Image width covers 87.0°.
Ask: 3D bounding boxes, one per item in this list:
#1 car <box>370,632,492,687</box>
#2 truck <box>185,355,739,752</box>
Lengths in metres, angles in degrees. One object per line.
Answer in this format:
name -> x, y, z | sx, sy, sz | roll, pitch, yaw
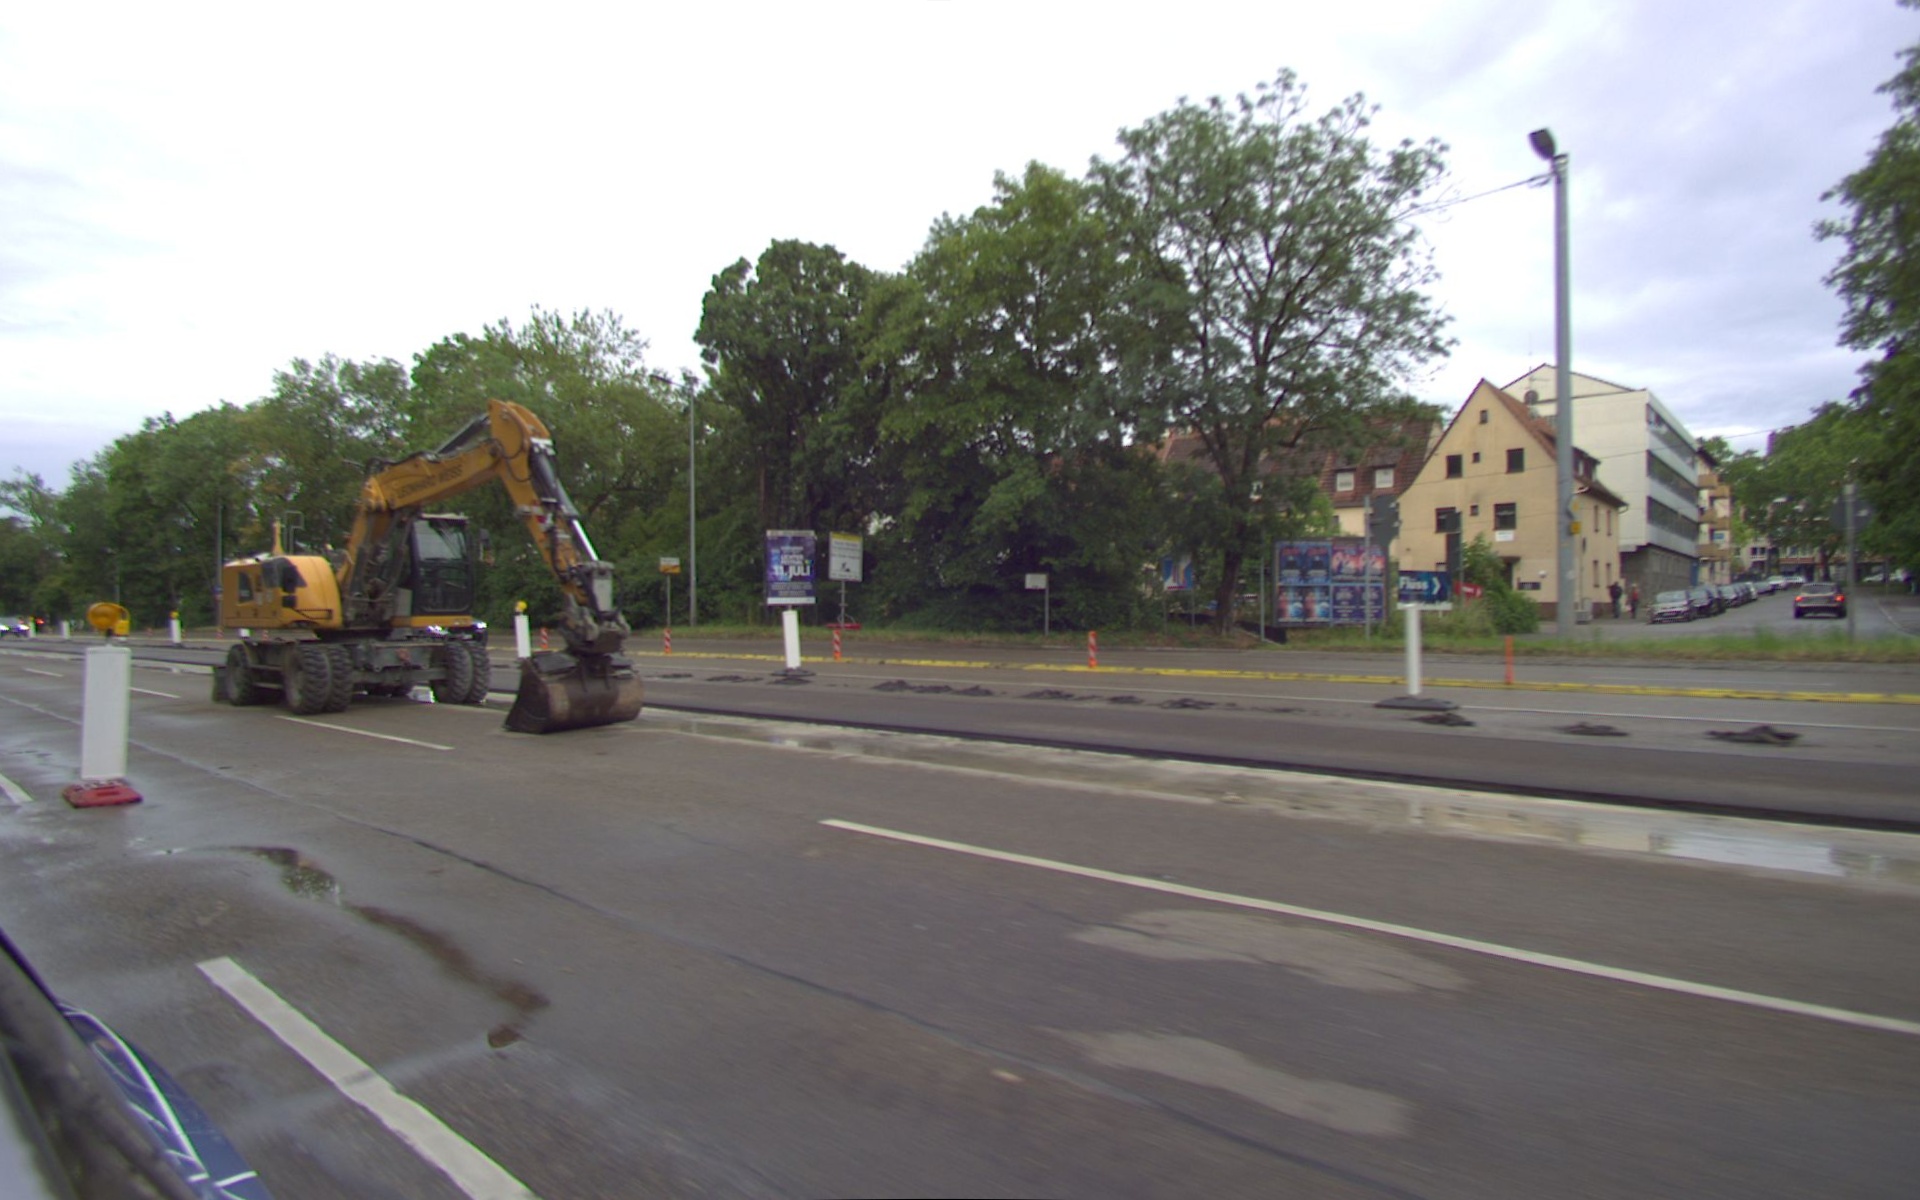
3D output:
car -> -17.916, 1.942, 34.196 | 4.808, 1.641, 1.973 | -2, 0, 40
truck -> -8.089, -0.399, 15.296 | 10.735, 4.291, 2.871 | -2, 0, 37
